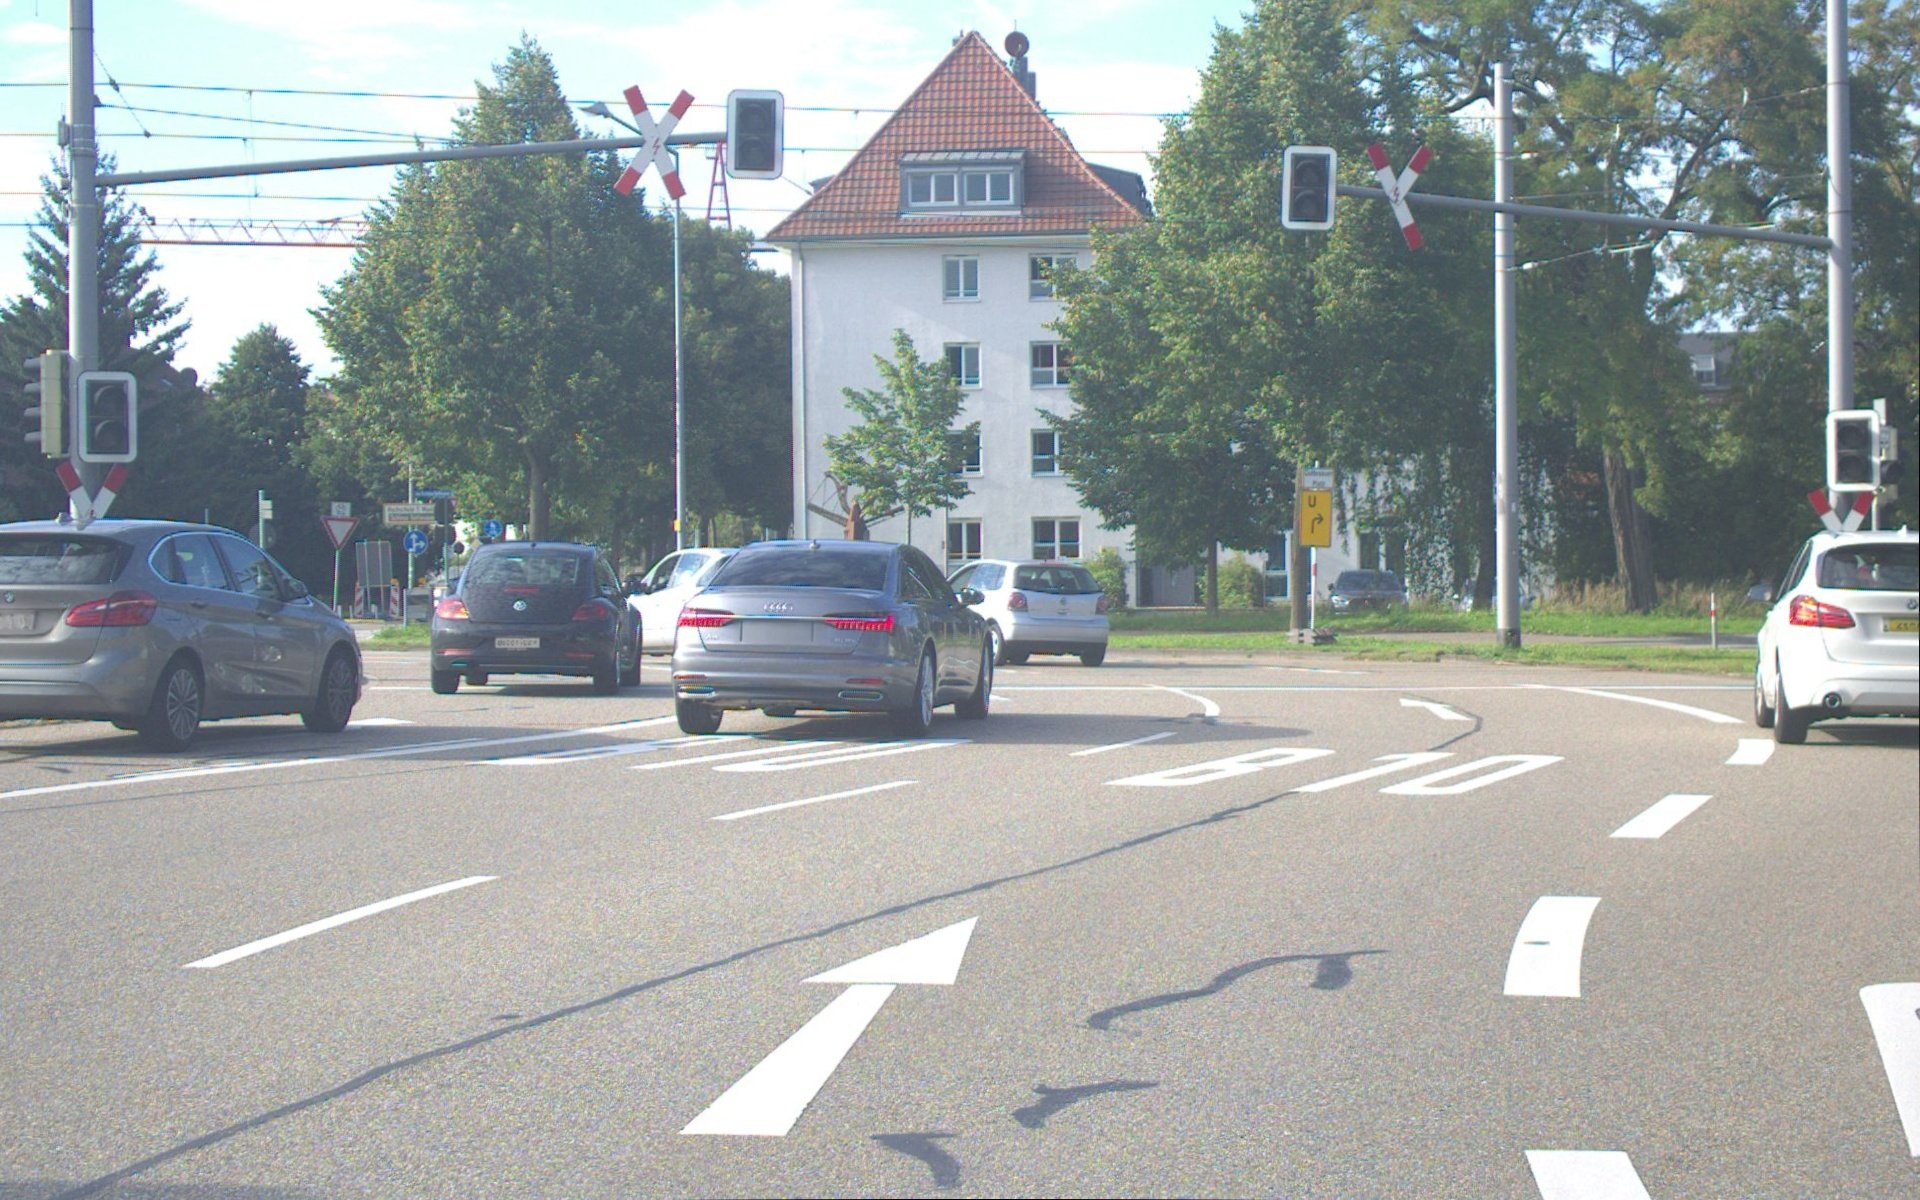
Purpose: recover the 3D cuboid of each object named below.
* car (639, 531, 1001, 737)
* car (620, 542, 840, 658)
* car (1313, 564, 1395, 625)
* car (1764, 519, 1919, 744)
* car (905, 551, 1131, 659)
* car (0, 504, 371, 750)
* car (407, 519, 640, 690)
[{"bbox_3d":[-0.972,0.238,26.720,1.851,1.440,4.713,1,0,10],"label":"car"},{"bbox_3d":[-3.142,-0.006,46.154,1.850,1.473,4.456,1,0,-19],"label":"car"},{"bbox_3d":[9.311,-0.142,81.207,1.855,1.376,4.514,-1,0,7],"label":"car"},{"bbox_3d":[7.241,0.220,26.107,1.852,1.567,4.451,1,0,18],"label":"car"},{"bbox_3d":[0.743,0.062,47.682,1.850,1.421,4.456,1,0,-17],"label":"car"},{"bbox_3d":[-5.764,0.168,24.167,1.769,1.567,4.065,1,0,13],"label":"car"},{"bbox_3d":[-4.241,0.053,33.958,1.993,1.536,4.000,2,0,-4],"label":"car"}]
